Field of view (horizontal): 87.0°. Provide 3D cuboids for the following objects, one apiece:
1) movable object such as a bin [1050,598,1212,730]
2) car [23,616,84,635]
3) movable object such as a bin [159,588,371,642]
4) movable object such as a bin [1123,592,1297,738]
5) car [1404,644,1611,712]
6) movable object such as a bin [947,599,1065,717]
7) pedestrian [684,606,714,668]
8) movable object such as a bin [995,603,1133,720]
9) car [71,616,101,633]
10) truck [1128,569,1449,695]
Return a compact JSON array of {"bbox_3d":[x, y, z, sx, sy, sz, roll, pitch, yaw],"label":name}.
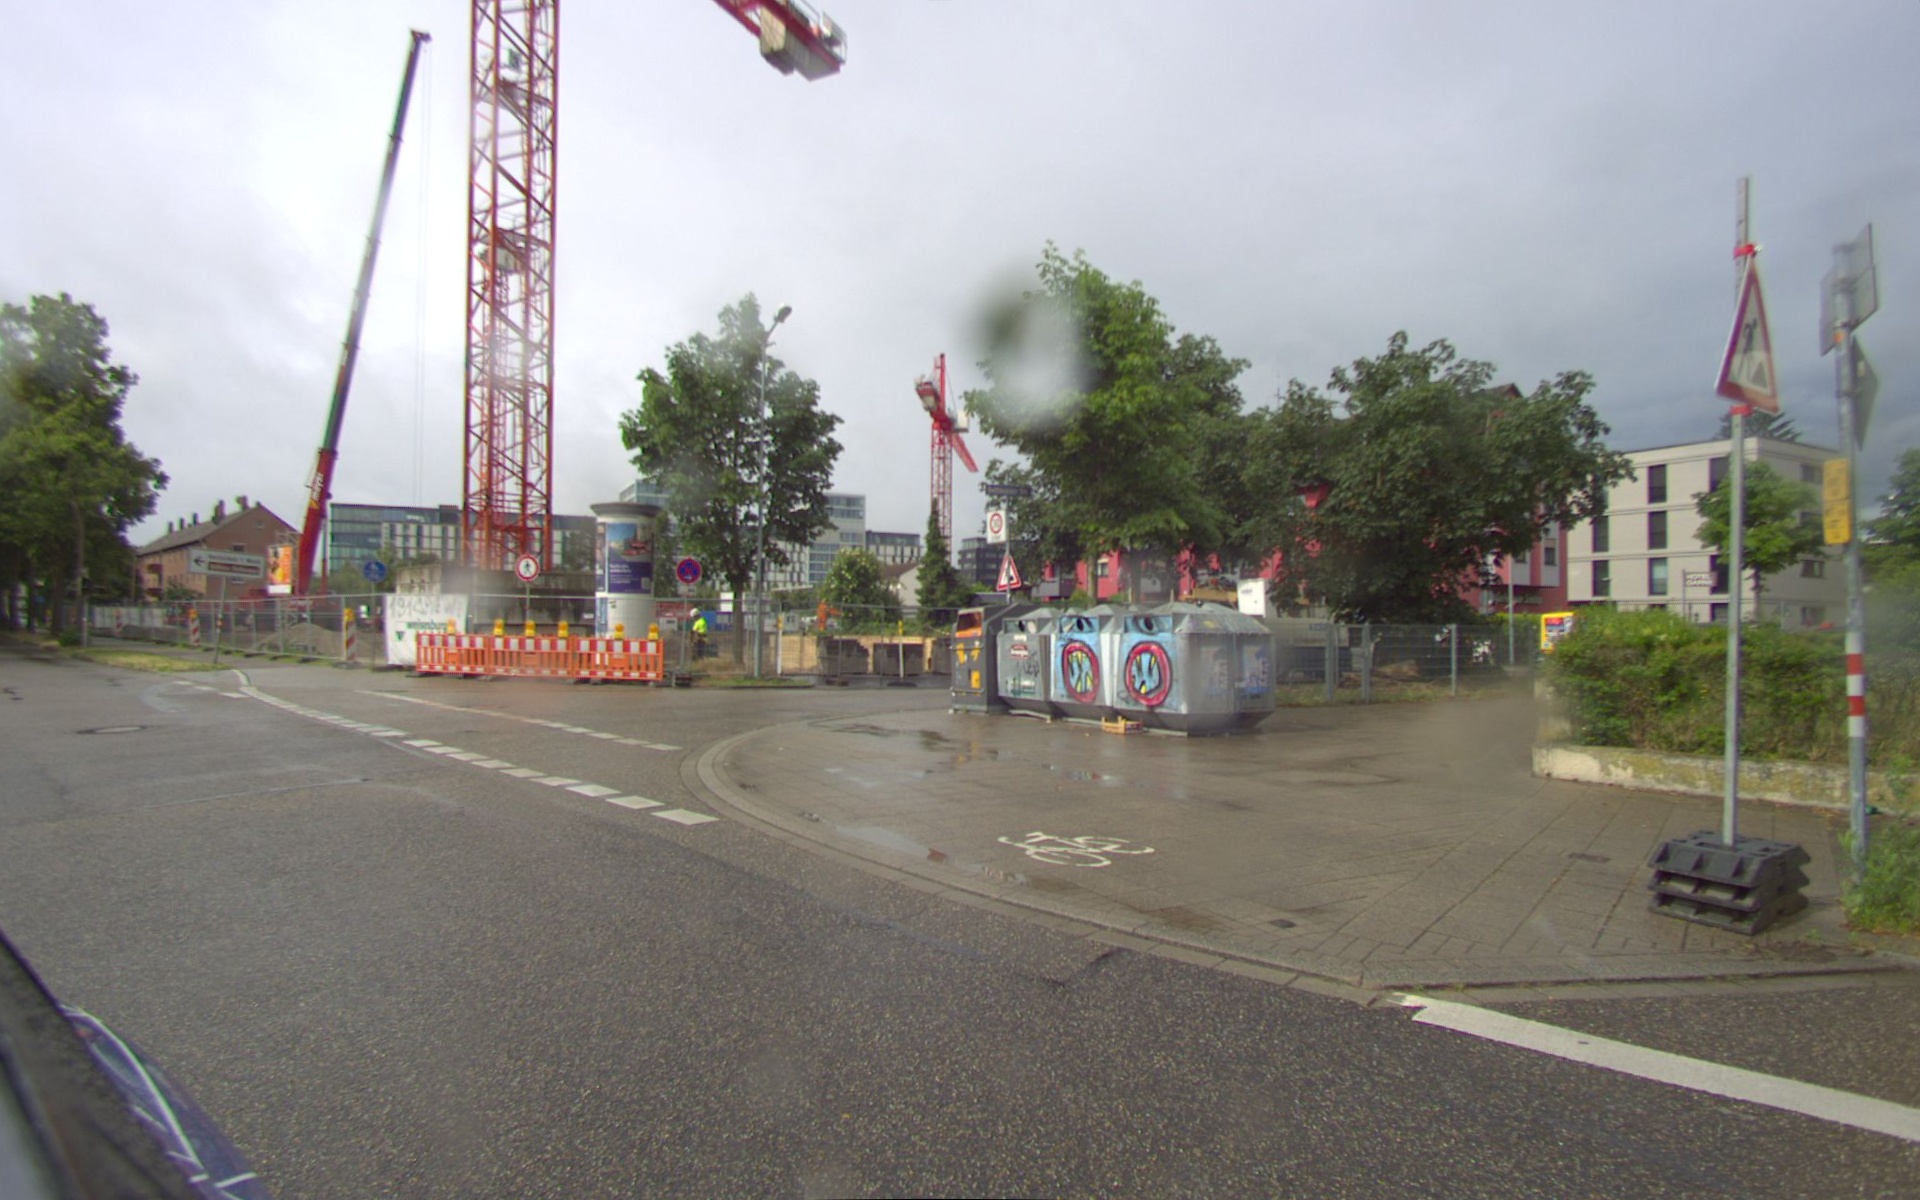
[{"bbox_3d":[2.341,0.868,14.054,1.516,1.687,1.671,2,-3,-28],"label":"movable object such as a bin"},{"bbox_3d":[-82.367,2.319,92.003,3.805,1.563,1.703,0,0,-22],"label":"car"},{"bbox_3d":[-63.343,1.173,92.896,15.720,4.592,3.104,-1,0,-44],"label":"movable object such as a bin"},{"bbox_3d":[3.096,0.789,12.643,1.516,1.675,1.463,2,-3,-28],"label":"movable object such as a bin"},{"bbox_3d":[12.920,1.798,24.164,1.674,1.453,4.136,3,-3,-26],"label":"car"},{"bbox_3d":[0.751,0.948,16.740,1.516,1.838,1.267,2,-3,-28],"label":"movable object such as a bin"},{"bbox_3d":[-7.003,0.996,27.114,0.610,1.632,0.551,2,-3,-31],"label":"pedestrian"},{"bbox_3d":[1.574,0.925,15.520,1.516,1.669,1.532,2,-3,-28],"label":"movable object such as a bin"},{"bbox_3d":[-84.598,2.344,97.977,3.998,1.541,1.671,0,0,41],"label":"car"},{"bbox_3d":[9.926,1.023,30.082,9.678,3.208,3.802,2,-3,-33],"label":"truck"}]
